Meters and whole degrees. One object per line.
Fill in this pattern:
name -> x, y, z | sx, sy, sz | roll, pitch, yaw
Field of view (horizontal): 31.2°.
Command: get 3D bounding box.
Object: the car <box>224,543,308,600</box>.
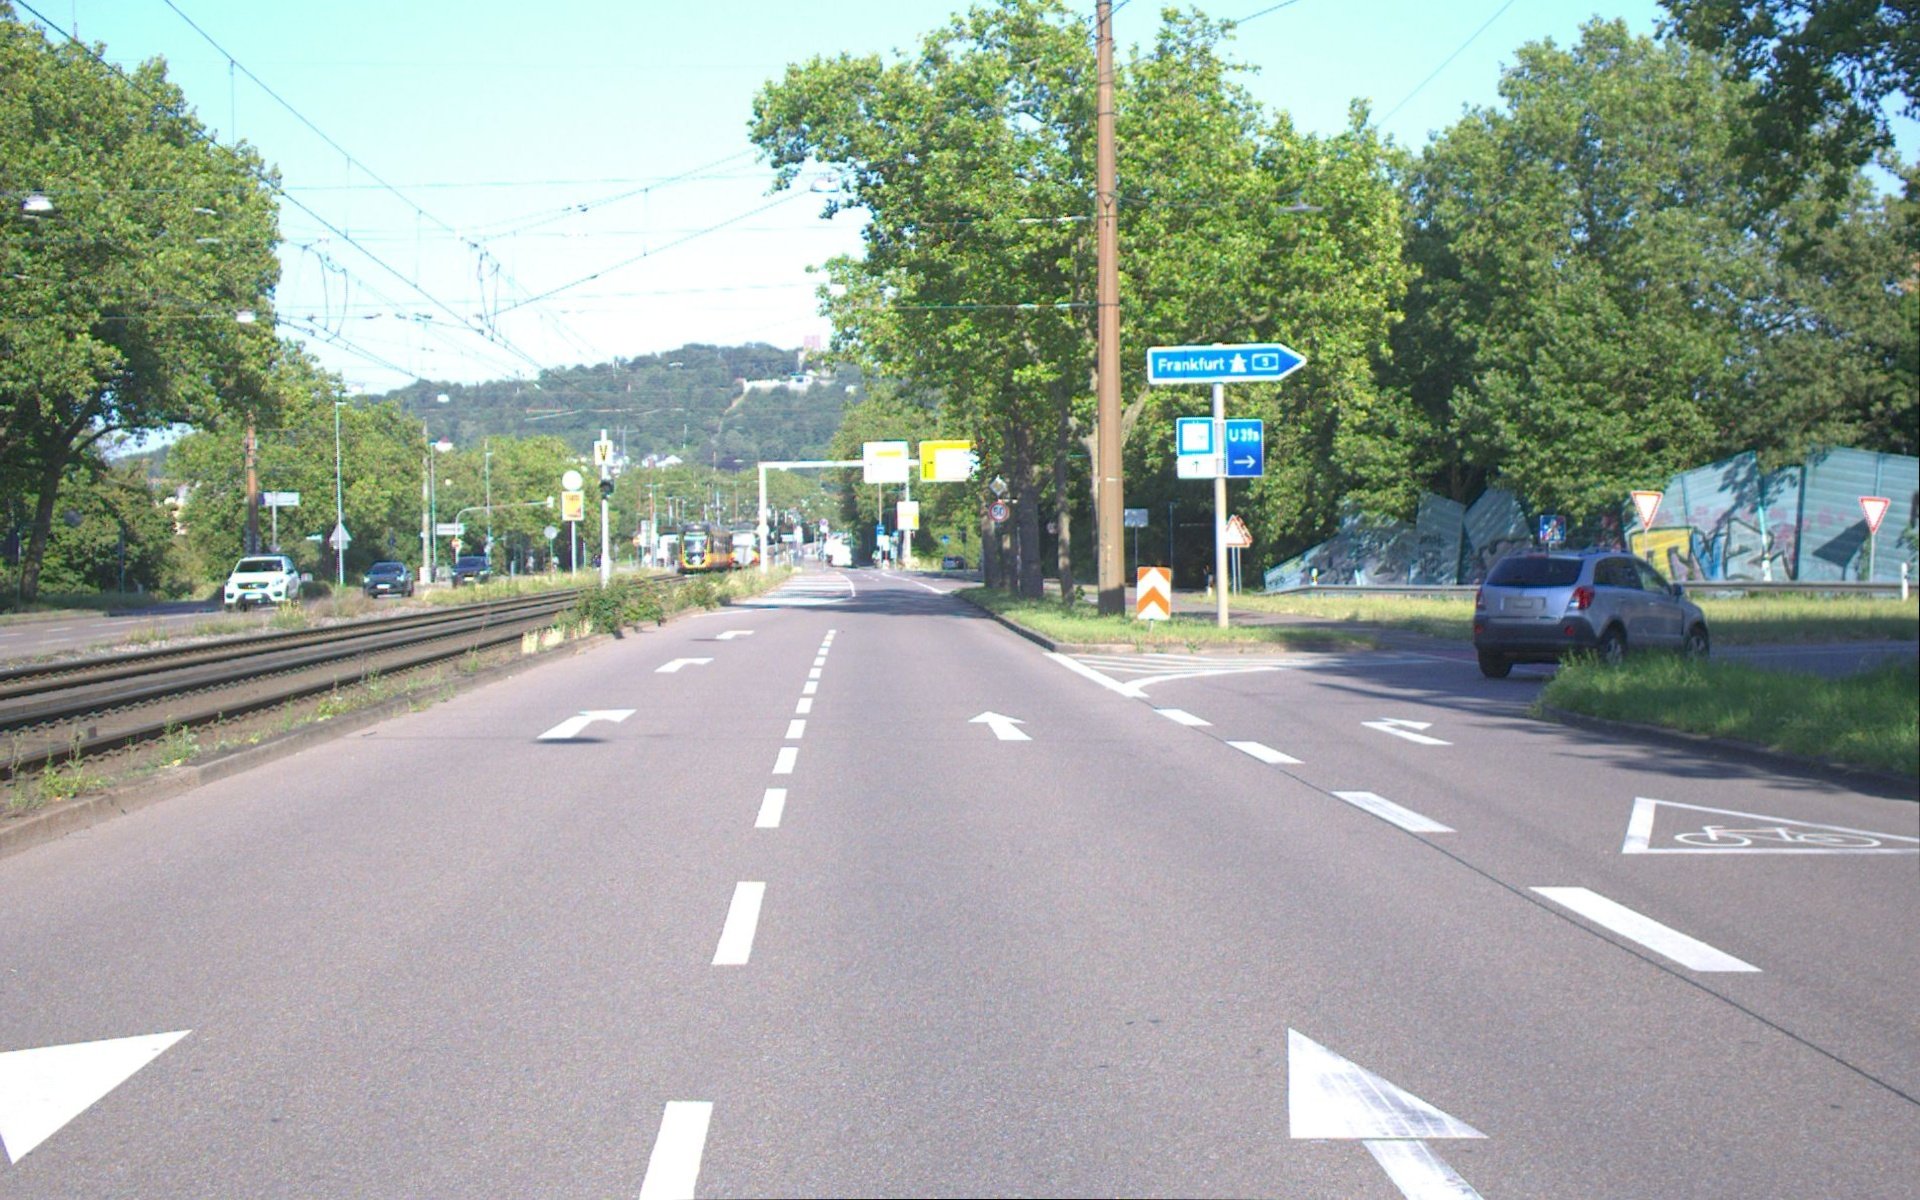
car -> -22.138, -0.914, 109.791 | 1.962, 1.701, 4.945 | -3, 1, -4

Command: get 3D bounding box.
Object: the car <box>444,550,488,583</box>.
car -> -26.092, -1.775, 181.766 | 1.898, 1.688, 4.942 | -2, 1, -4

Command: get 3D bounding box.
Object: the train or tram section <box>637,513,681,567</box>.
train or tram section -> -22.367, -4.390, 255.829 | 2.804, 3.889, 12.334 | 0, 1, -3

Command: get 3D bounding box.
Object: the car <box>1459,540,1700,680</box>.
car -> 8.281, 0.111, 45.724 | 1.812, 1.767, 3.855 | 1, 1, 32

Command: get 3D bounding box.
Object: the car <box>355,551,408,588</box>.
car -> -24.548, -1.302, 145.948 | 1.710, 1.463, 4.348 | -3, 1, -4
